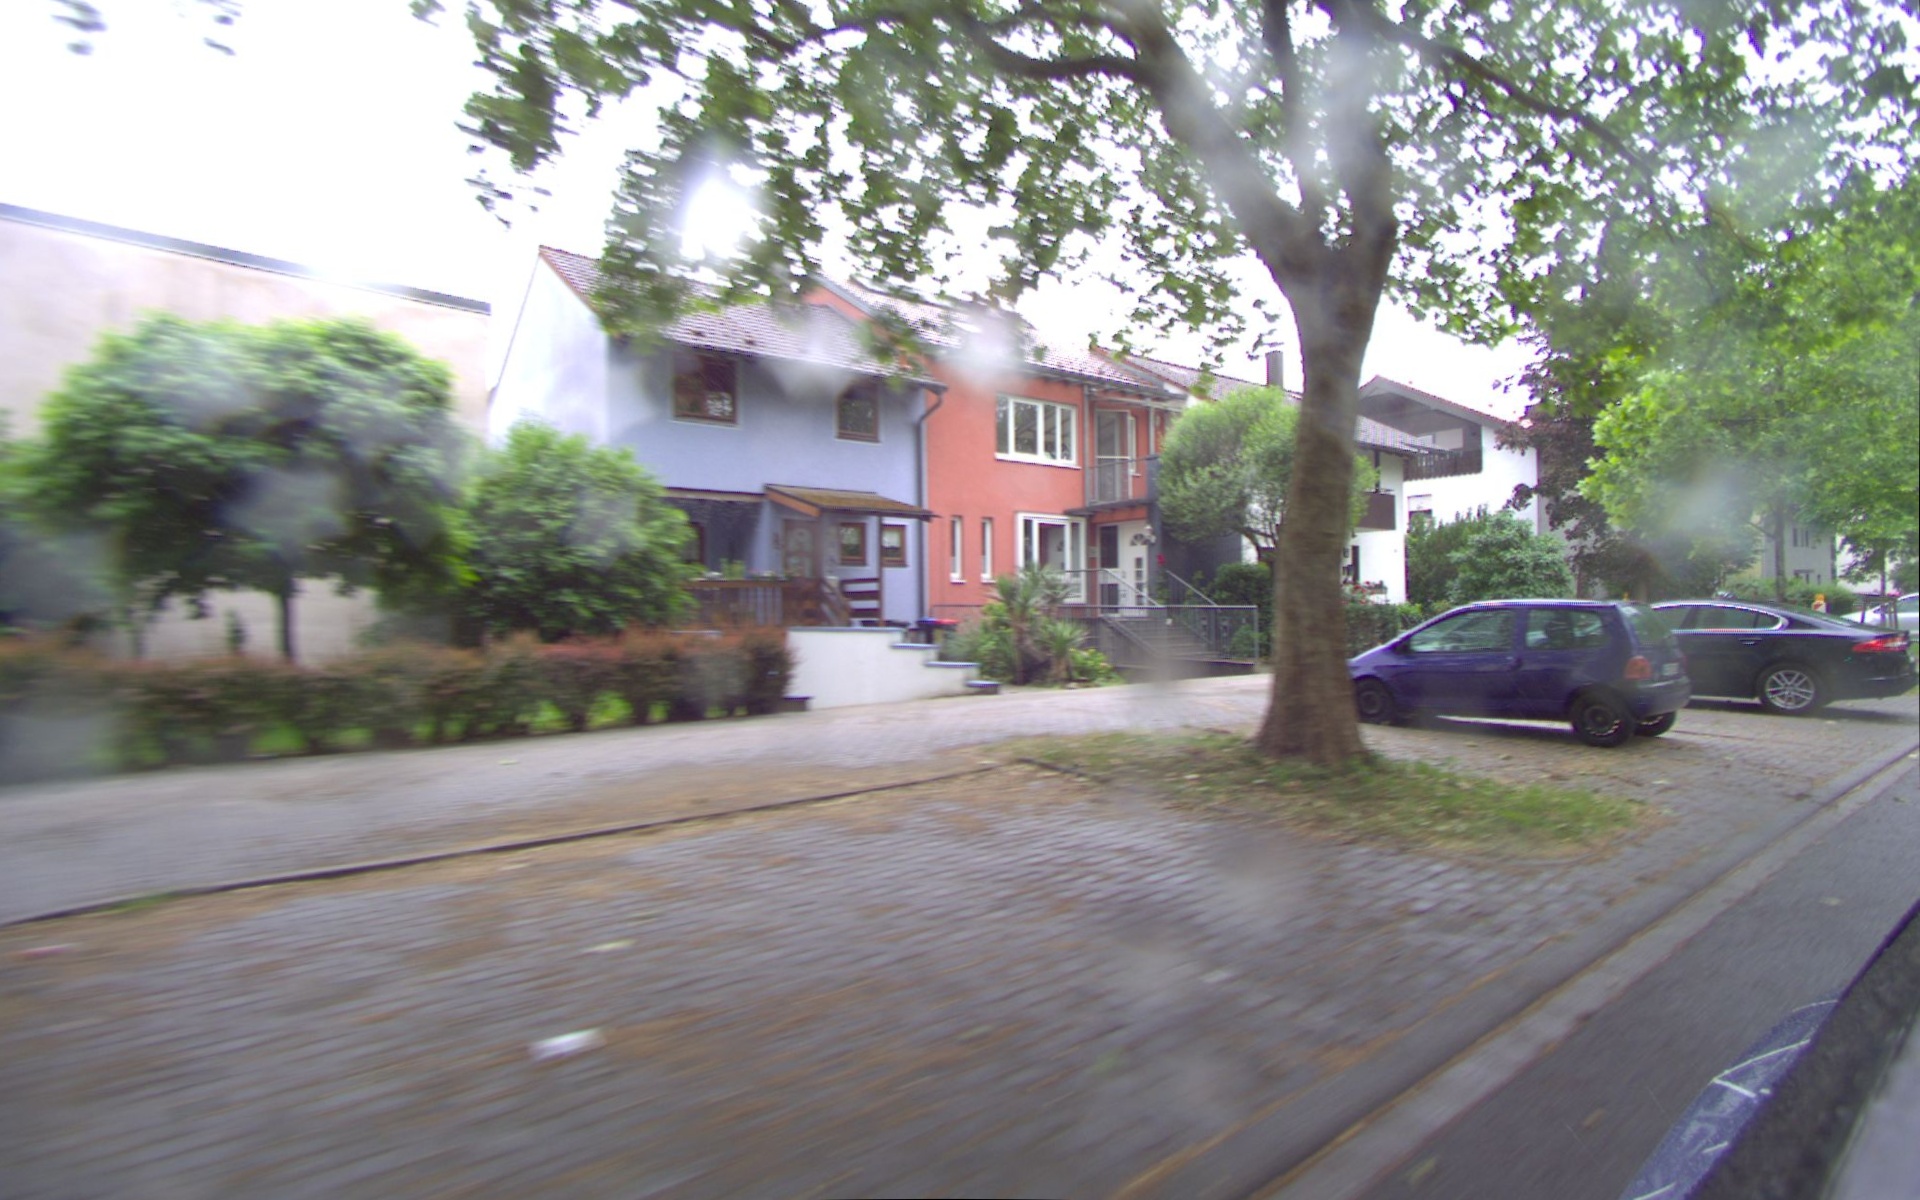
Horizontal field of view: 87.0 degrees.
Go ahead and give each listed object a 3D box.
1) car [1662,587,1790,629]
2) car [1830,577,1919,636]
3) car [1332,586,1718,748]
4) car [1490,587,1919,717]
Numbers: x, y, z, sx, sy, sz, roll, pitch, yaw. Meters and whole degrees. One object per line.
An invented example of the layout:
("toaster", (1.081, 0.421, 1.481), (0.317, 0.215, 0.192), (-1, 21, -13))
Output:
("car", (31.289, 0.291, 41.426), (1.808, 1.633, 3.855), (0, 0, -36))
("car", (28.395, 0.197, 29.244), (1.941, 1.682, 4.698), (0, 0, -40))
("car", (6.046, 0.615, 11.109), (1.590, 1.482, 3.362), (0, 0, -39))
("car", (10.205, 0.578, 13.970), (1.905, 1.491, 4.771), (0, 0, -42))
